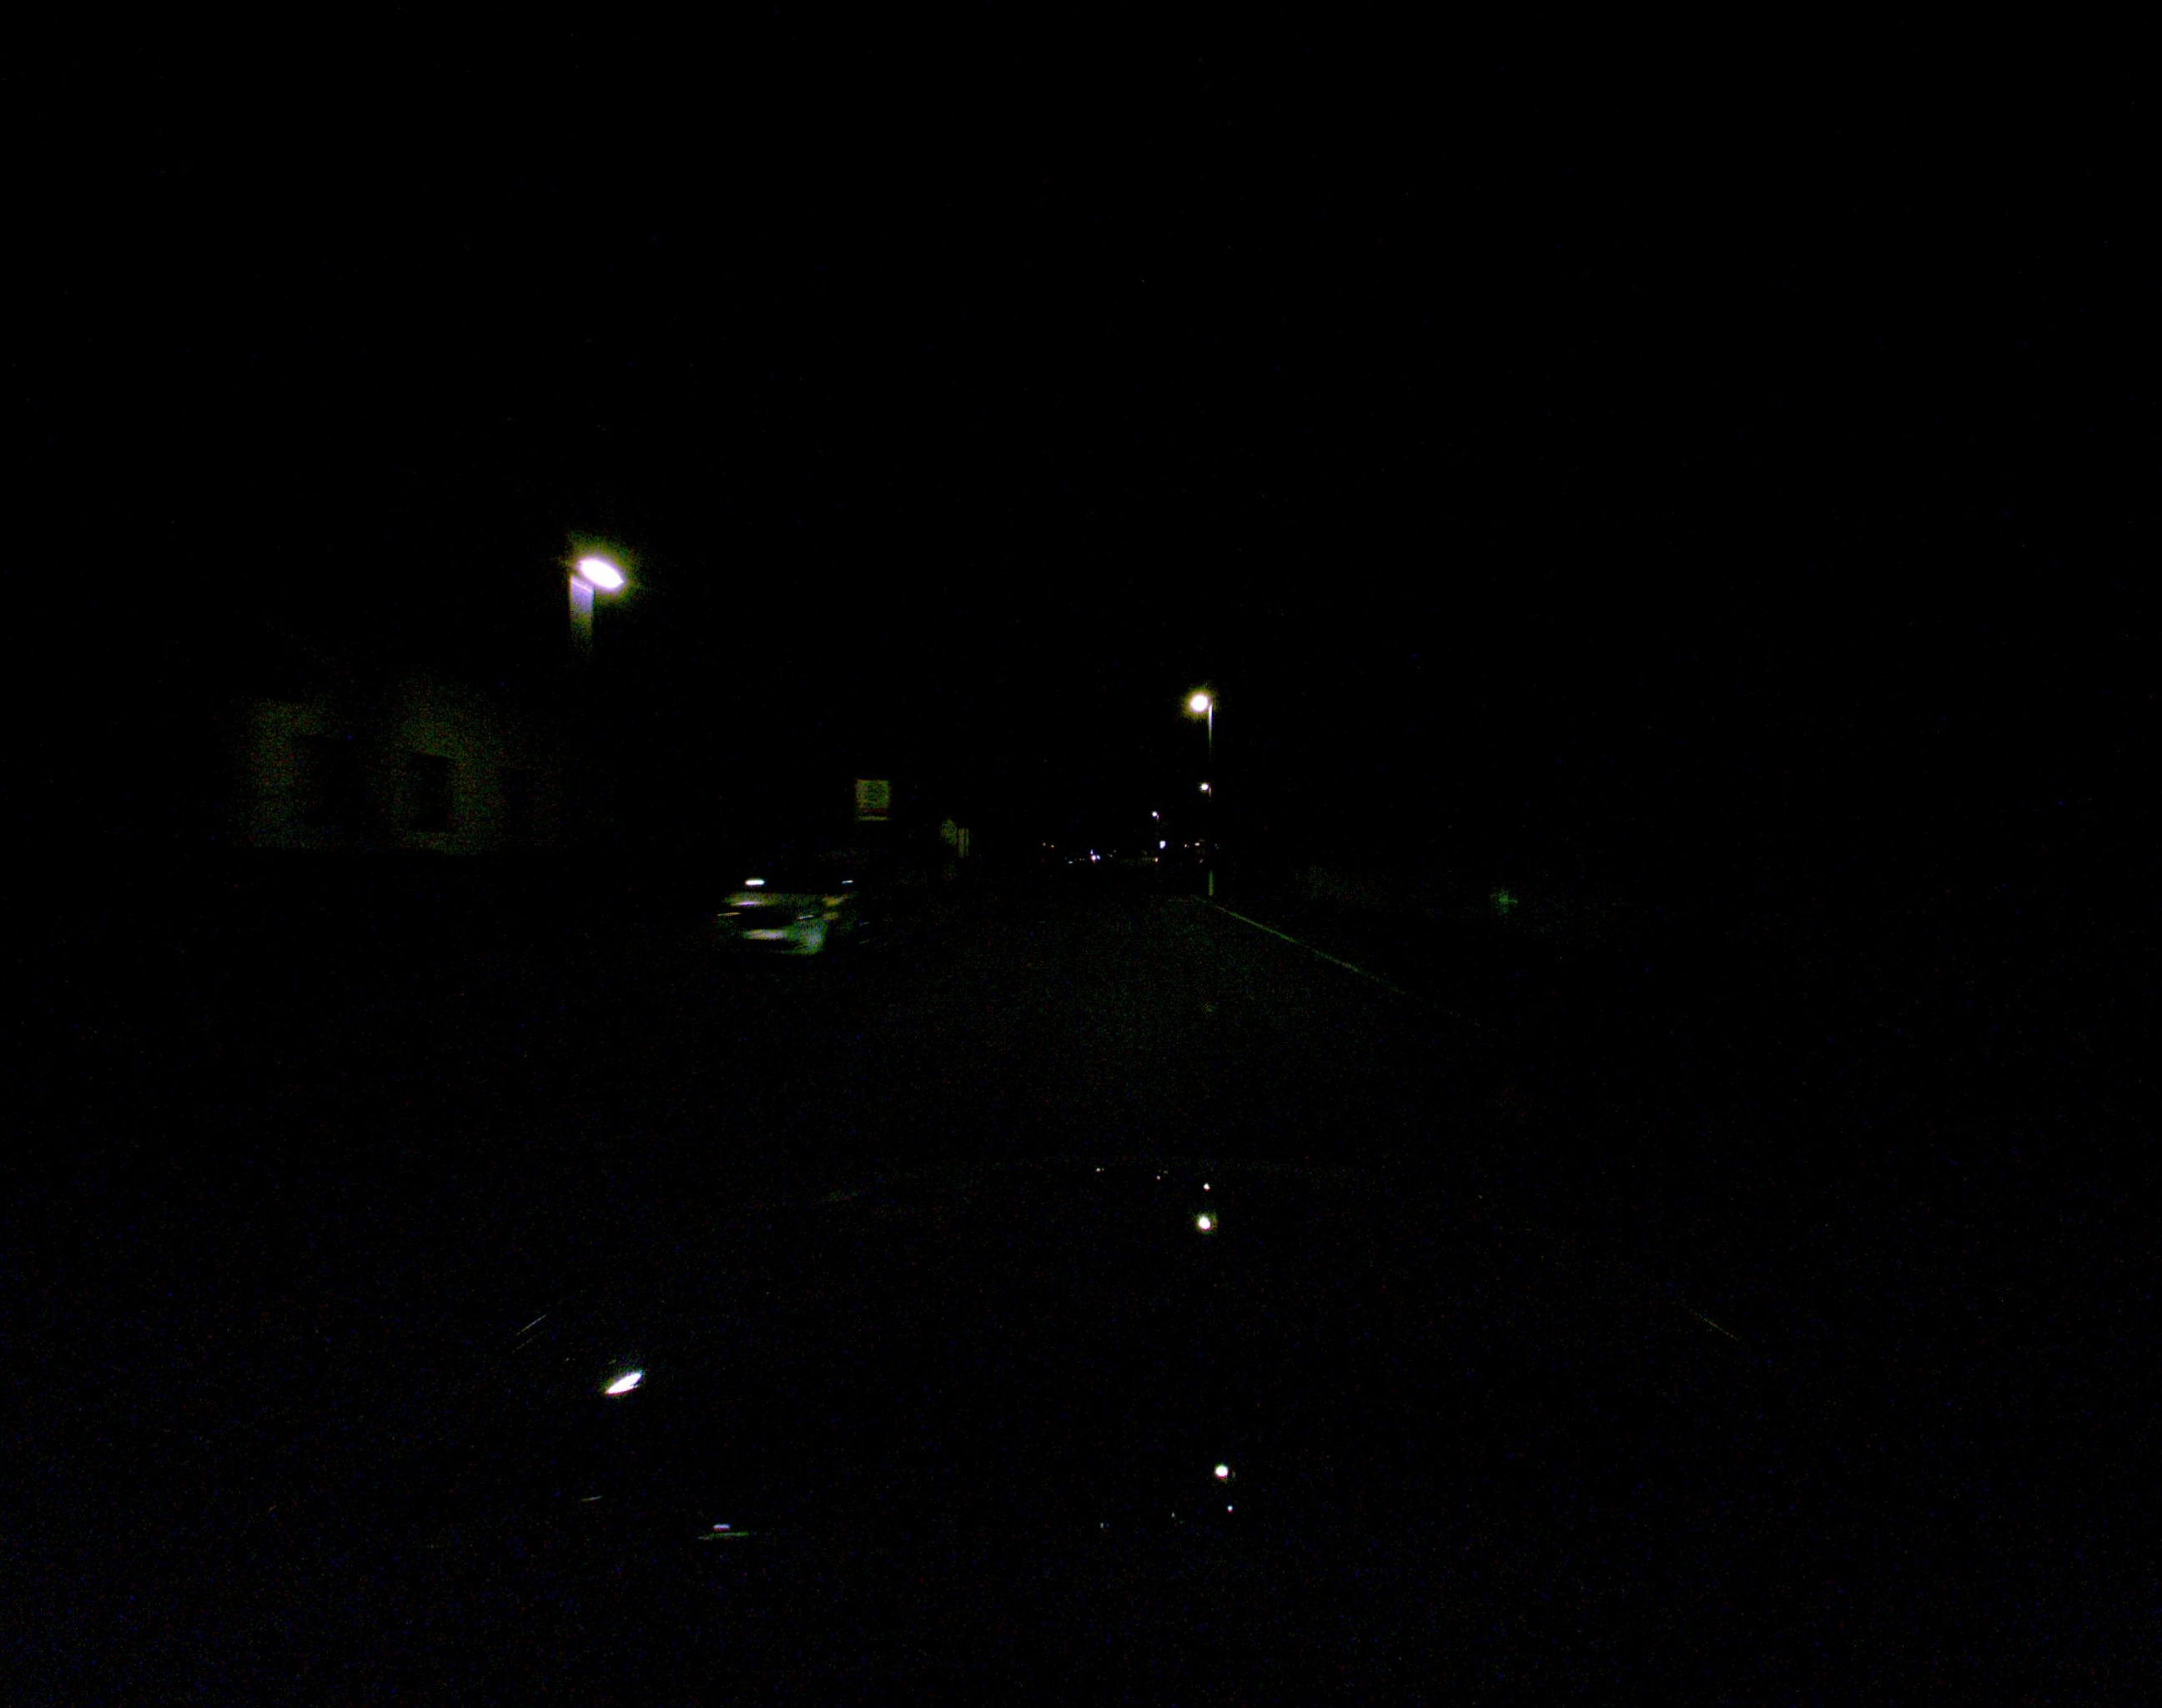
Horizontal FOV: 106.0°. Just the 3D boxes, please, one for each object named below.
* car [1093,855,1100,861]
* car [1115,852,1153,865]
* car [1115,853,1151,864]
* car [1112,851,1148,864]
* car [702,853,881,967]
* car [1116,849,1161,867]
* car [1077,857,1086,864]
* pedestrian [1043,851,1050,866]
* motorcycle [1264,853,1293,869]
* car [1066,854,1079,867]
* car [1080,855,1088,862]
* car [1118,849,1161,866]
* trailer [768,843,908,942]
[{"bbox_3d":[4.401,1.100,230.683,1.921,1.648,3.821,-2,0,0],"label":"car"},{"bbox_3d":[7.484,0.648,115.387,5.166,1.594,2.101,-2,0,0],"label":"car"},{"bbox_3d":[7.708,0.692,120.901,5.166,1.469,2.101,-2,0,0],"label":"car"},{"bbox_3d":[7.480,0.503,123.625,5.150,1.887,2.108,-2,0,10],"label":"car"},{"bbox_3d":[-4.363,0.774,12.745,1.666,1.522,2.978,2,0,0],"label":"car"},{"bbox_3d":[6.947,0.454,98.853,5.166,2.013,2.101,-2,0,0],"label":"car"},{"bbox_3d":[0.053,1.193,154.887,1.678,1.331,3.599,-1,0,0],"label":"car"},{"bbox_3d":[-4.753,0.583,111.902,0.782,2.013,1.204,1,0,1],"label":"pedestrian"},{"bbox_3d":[16.377,0.567,67.617,2.262,1.214,0.708,-2,0,-15],"label":"motorcycle"},{"bbox_3d":[-1.283,0.980,122.566,1.819,1.986,4.465,1,0,0],"label":"car"},{"bbox_3d":[0.647,0.986,171.693,1.678,1.331,3.599,-1,0,0],"label":"car"},{"bbox_3d":[7.295,0.418,101.914,5.166,2.013,2.101,-2,0,0],"label":"car"},{"bbox_3d":[-4.632,0.684,15.982,1.441,1.688,3.430,2,0,4],"label":"trailer"}]
